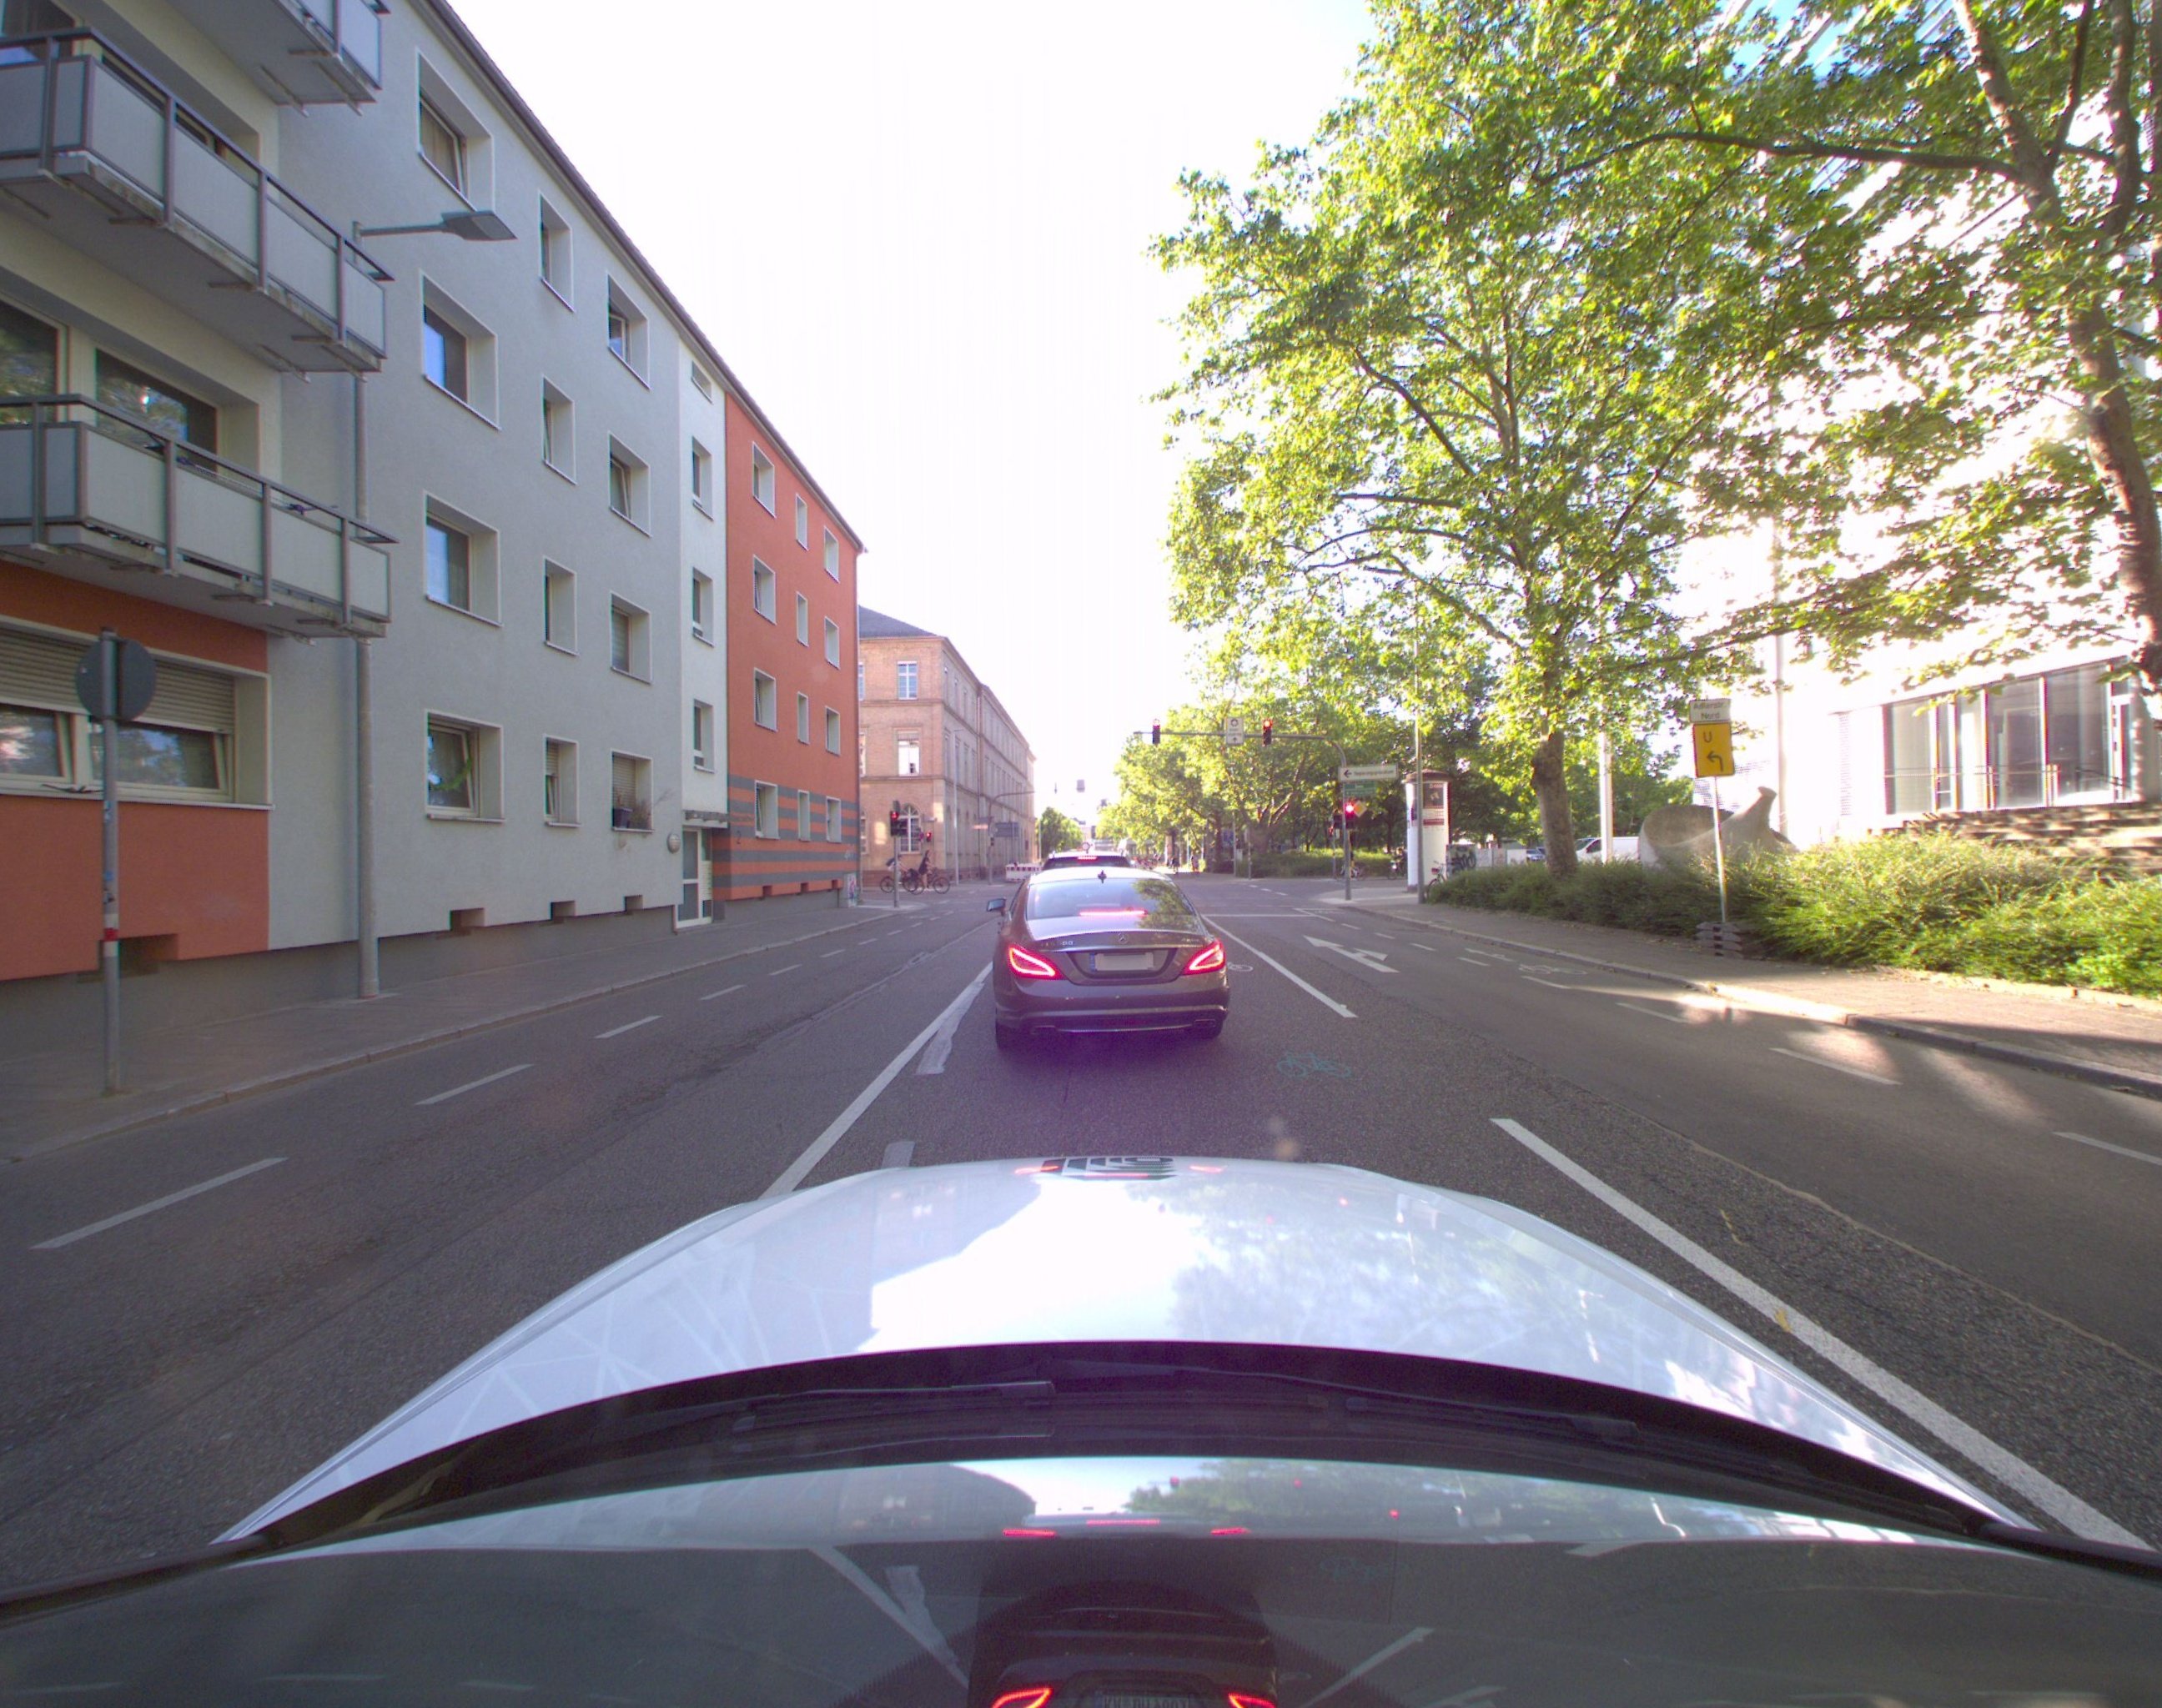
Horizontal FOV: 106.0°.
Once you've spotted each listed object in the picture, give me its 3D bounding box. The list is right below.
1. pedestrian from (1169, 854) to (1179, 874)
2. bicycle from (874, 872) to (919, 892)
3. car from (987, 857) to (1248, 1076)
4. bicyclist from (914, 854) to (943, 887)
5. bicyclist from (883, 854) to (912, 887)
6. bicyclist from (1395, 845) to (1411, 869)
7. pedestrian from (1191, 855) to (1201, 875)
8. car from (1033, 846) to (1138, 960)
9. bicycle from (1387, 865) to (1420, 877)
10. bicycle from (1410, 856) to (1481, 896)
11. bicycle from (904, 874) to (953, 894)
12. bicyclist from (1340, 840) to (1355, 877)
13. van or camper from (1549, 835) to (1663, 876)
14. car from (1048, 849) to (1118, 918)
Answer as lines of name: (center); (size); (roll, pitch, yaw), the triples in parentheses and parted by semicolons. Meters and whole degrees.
pedestrian: (7.081, 0.775, 62.030); (0.646, 1.503, 0.637); (-1, 0, 1)
bicycle: (-8.514, 1.289, 37.664); (1.884, 0.882, 0.726); (-1, 0, 5)
car: (0.072, 0.788, 7.789); (1.801, 1.456, 4.342); (-1, -1, -5)
bicyclist: (-6.629, 0.722, 35.453); (1.099, 1.403, 0.658); (-1, 0, 1)
bicyclist: (-8.482, 0.763, 37.667); (1.069, 1.519, 0.718); (-1, 0, 6)
bicyclist: (17.394, 0.147, 44.009); (0.700, 1.260, 0.458); (-1, 0, 5)
pedestrian: (8.675, 0.830, 61.493); (0.646, 1.433, 0.659); (-1, 0, 1)
car: (0.058, 0.715, 13.794); (1.513, 1.647, 3.879); (-1, 0, 0)
bicycle: (17.433, 0.908, 44.006); (1.579, 0.635, 0.496); (-1, 0, 5)
bicycle: (10.511, 0.627, 23.532); (1.796, 1.097, 0.510); (-1, 0, 4)
bicycle: (-6.615, 1.299, 35.454); (1.967, 0.836, 0.677); (-1, 0, 1)
bicyclist: (14.454, 0.251, 44.174); (0.649, 2.013, 0.440); (-1, 0, 2)
van or camper: (26.810, 0.076, 41.687); (4.566, 1.941, 1.999); (-1, 0, -1)
car: (0.124, 0.775, 23.379); (1.813, 1.762, 4.002); (-1, 0, 2)
